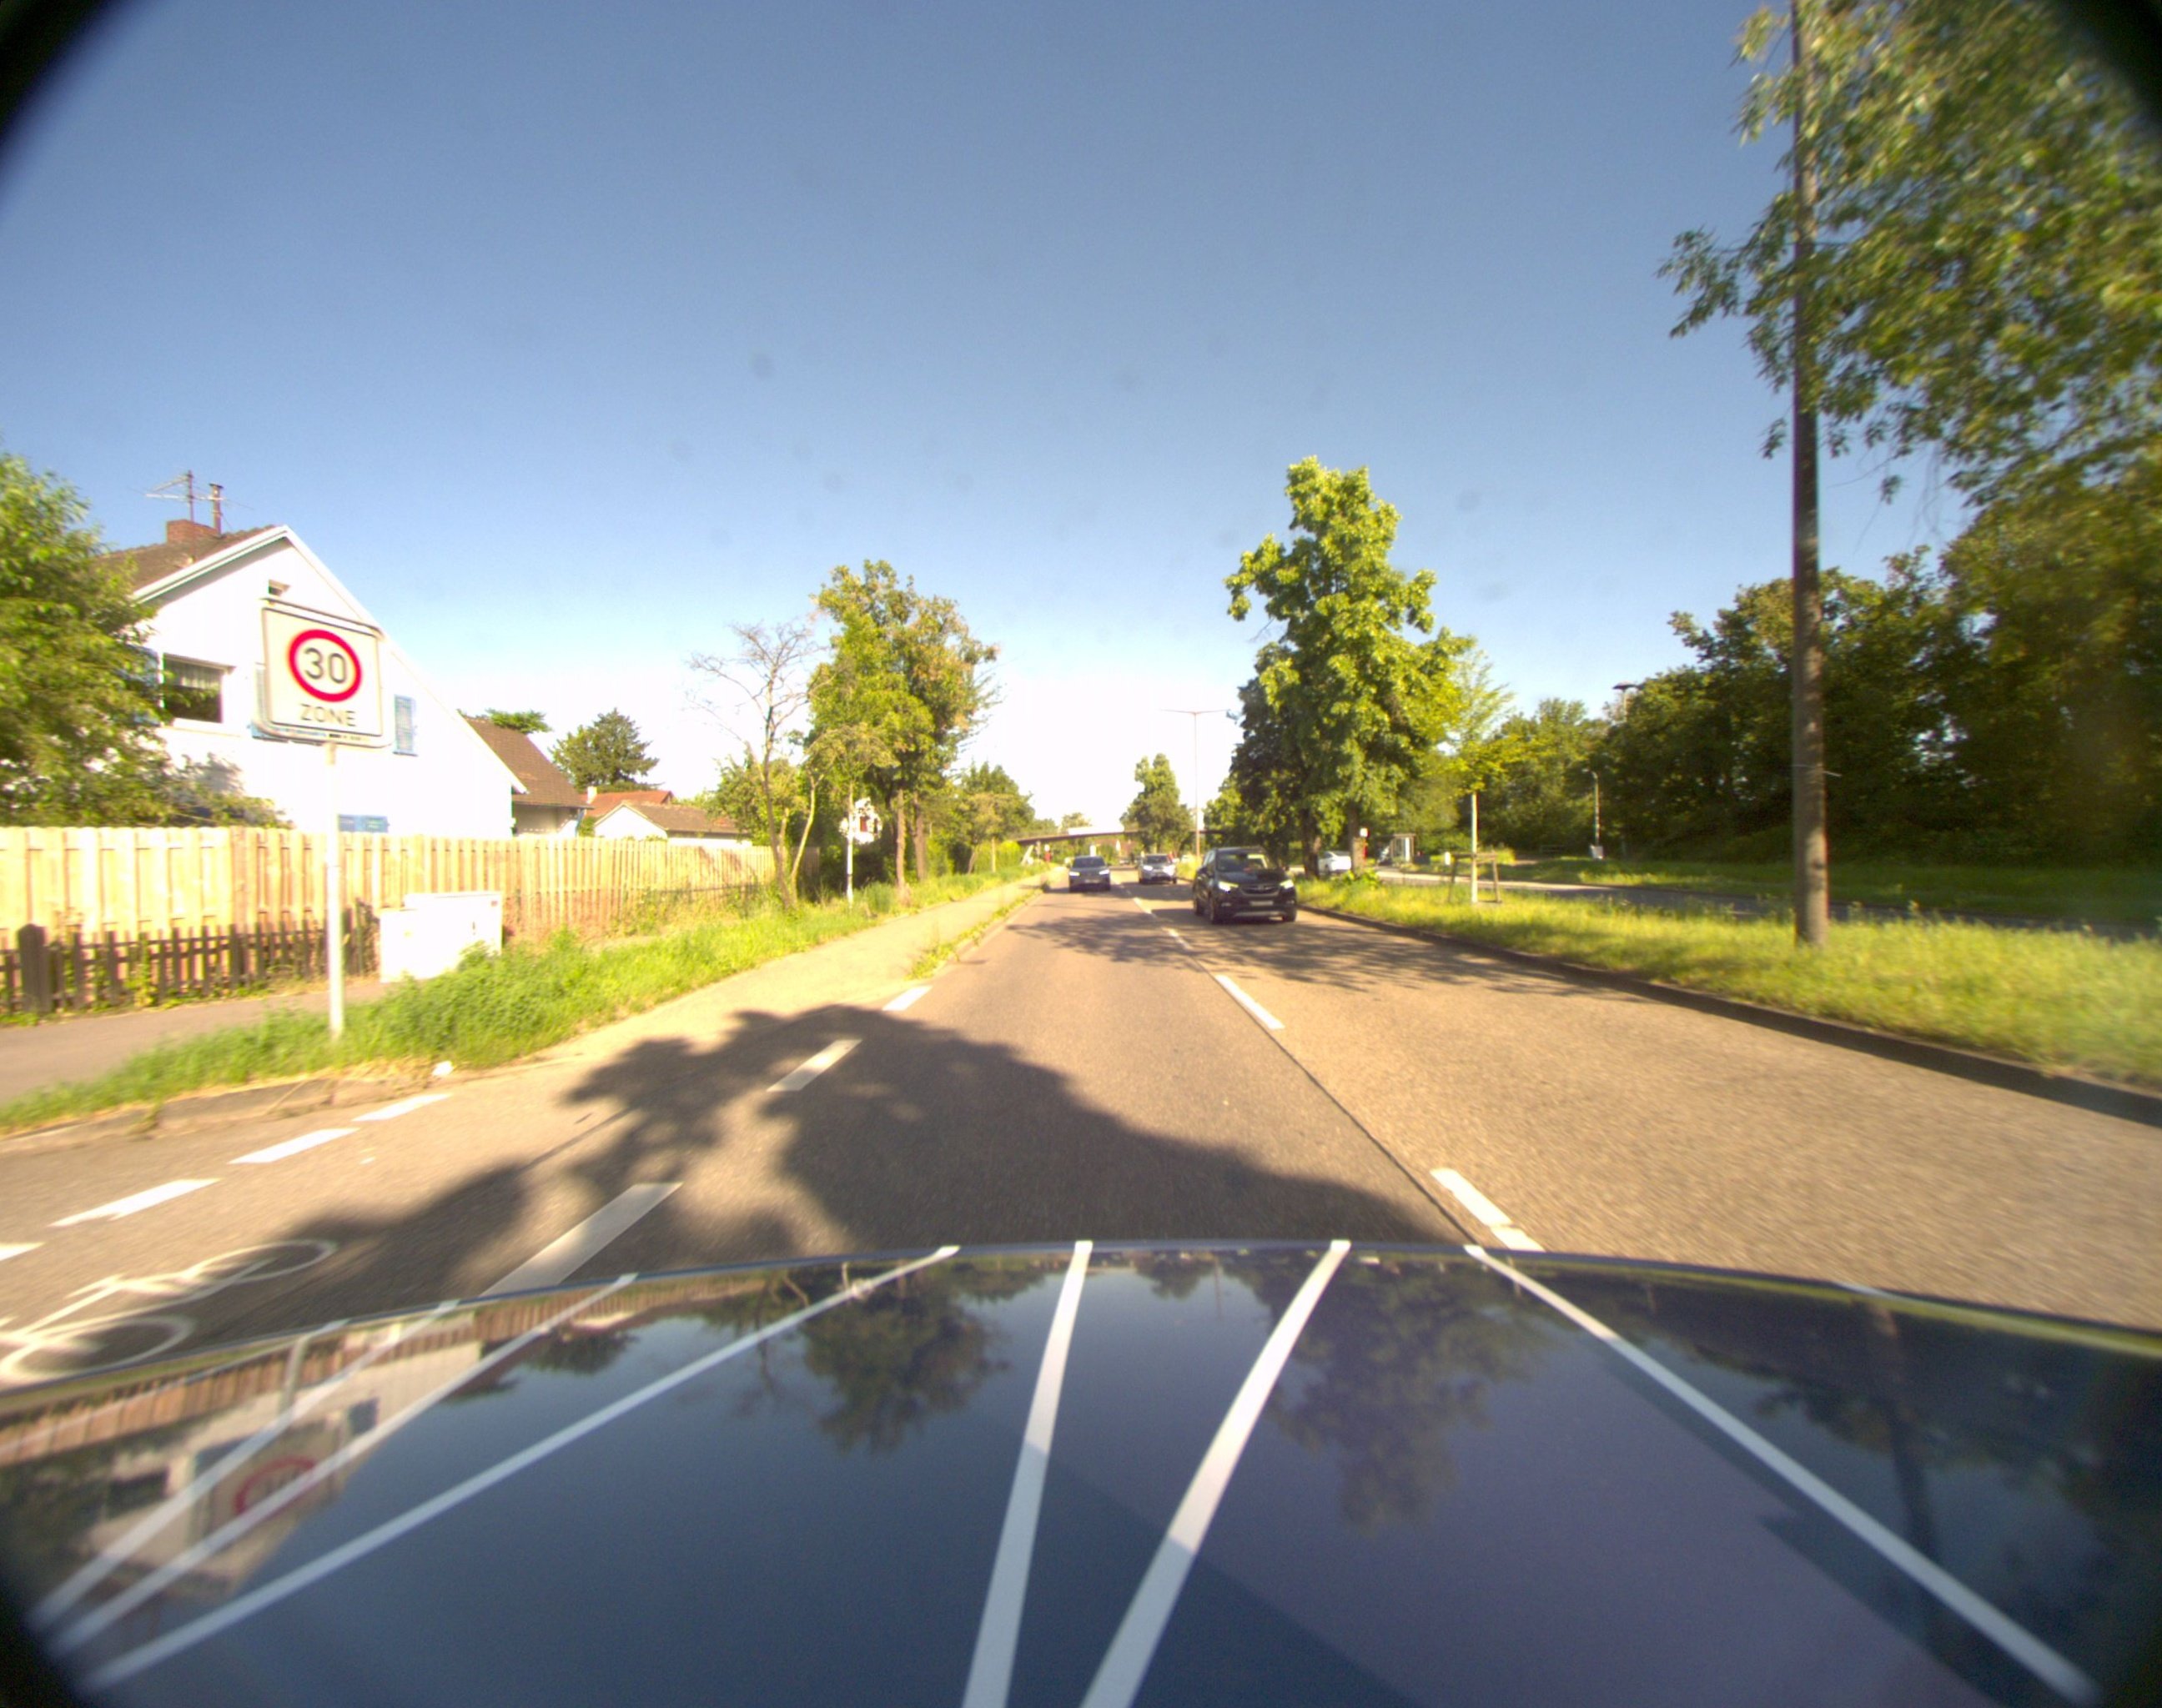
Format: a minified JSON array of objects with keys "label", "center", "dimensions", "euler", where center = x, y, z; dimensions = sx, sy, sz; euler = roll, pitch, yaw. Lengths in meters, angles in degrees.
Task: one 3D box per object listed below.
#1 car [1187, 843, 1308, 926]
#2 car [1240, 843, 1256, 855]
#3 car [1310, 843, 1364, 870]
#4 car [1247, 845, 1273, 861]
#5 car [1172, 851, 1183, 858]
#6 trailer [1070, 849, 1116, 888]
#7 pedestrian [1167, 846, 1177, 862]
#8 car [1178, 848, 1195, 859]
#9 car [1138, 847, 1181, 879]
[{"label":"car","center":[3.654,0.597,17.498],"dimensions":[1.811,1.605,4.514],"euler":[-2,0,1]},{"label":"car","center":[20.574,-0.647,93.771],"dimensions":[1.585,1.406,3.132],"euler":[-2,0,5]},{"label":"car","center":[16.721,0.135,49.898],"dimensions":[1.844,1.580,4.585],"euler":[4,0,-1]},{"label":"car","center":[17.276,-0.134,73.448],"dimensions":[1.717,1.463,4.064],"euler":[0,0,2]},{"label":"car","center":[20.635,0.140,162.415],"dimensions":[1.809,1.491,4.215],"euler":[-2,0,2]},{"label":"trailer","center":[0.544,0.611,34.939],"dimensions":[1.897,1.586,4.000],"euler":[-3,0,1]},{"label":"pedestrian","center":[9.639,-0.012,80.685],"dimensions":[0.631,1.686,0.945],"euler":[-2,0,31]},{"label":"car","center":[14.101,-0.080,101.748],"dimensions":[1.717,1.463,4.064],"euler":[0,0,2]},{"label":"car","center":[4.082,0.471,40.150],"dimensions":[1.823,1.553,4.647],"euler":[-2,0,2]}]
